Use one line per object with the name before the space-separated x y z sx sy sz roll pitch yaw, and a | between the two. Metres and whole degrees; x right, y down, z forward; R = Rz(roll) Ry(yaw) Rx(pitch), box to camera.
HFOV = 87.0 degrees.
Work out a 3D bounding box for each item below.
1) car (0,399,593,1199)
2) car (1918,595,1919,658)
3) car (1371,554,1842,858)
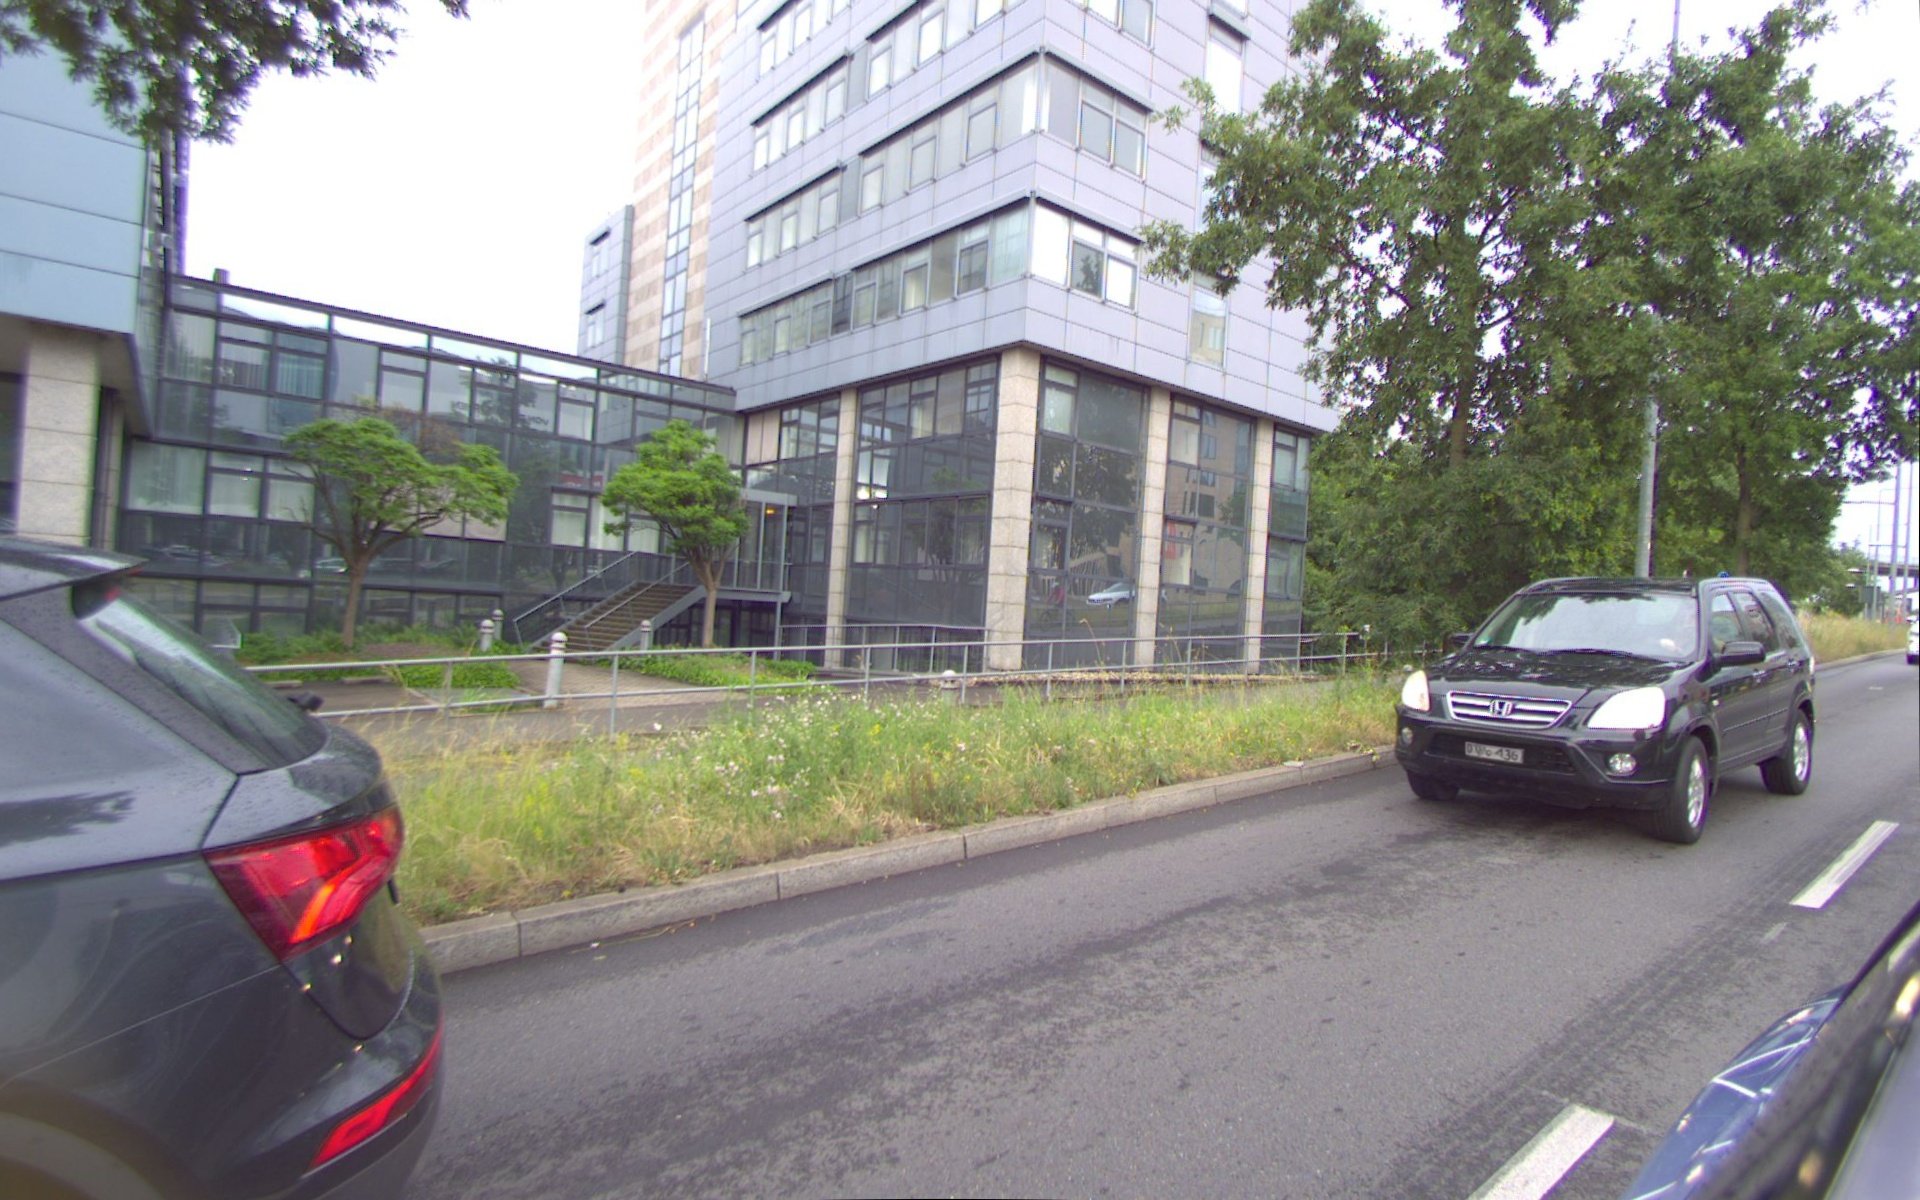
car | -2.883 0.546 0.994 4.392 1.633 1.821 0 1 -41
car | 25.315 0.655 25.154 3.700 1.522 1.826 0 1 -41
car | 5.027 0.565 7.626 4.260 1.679 1.758 0 1 -39
